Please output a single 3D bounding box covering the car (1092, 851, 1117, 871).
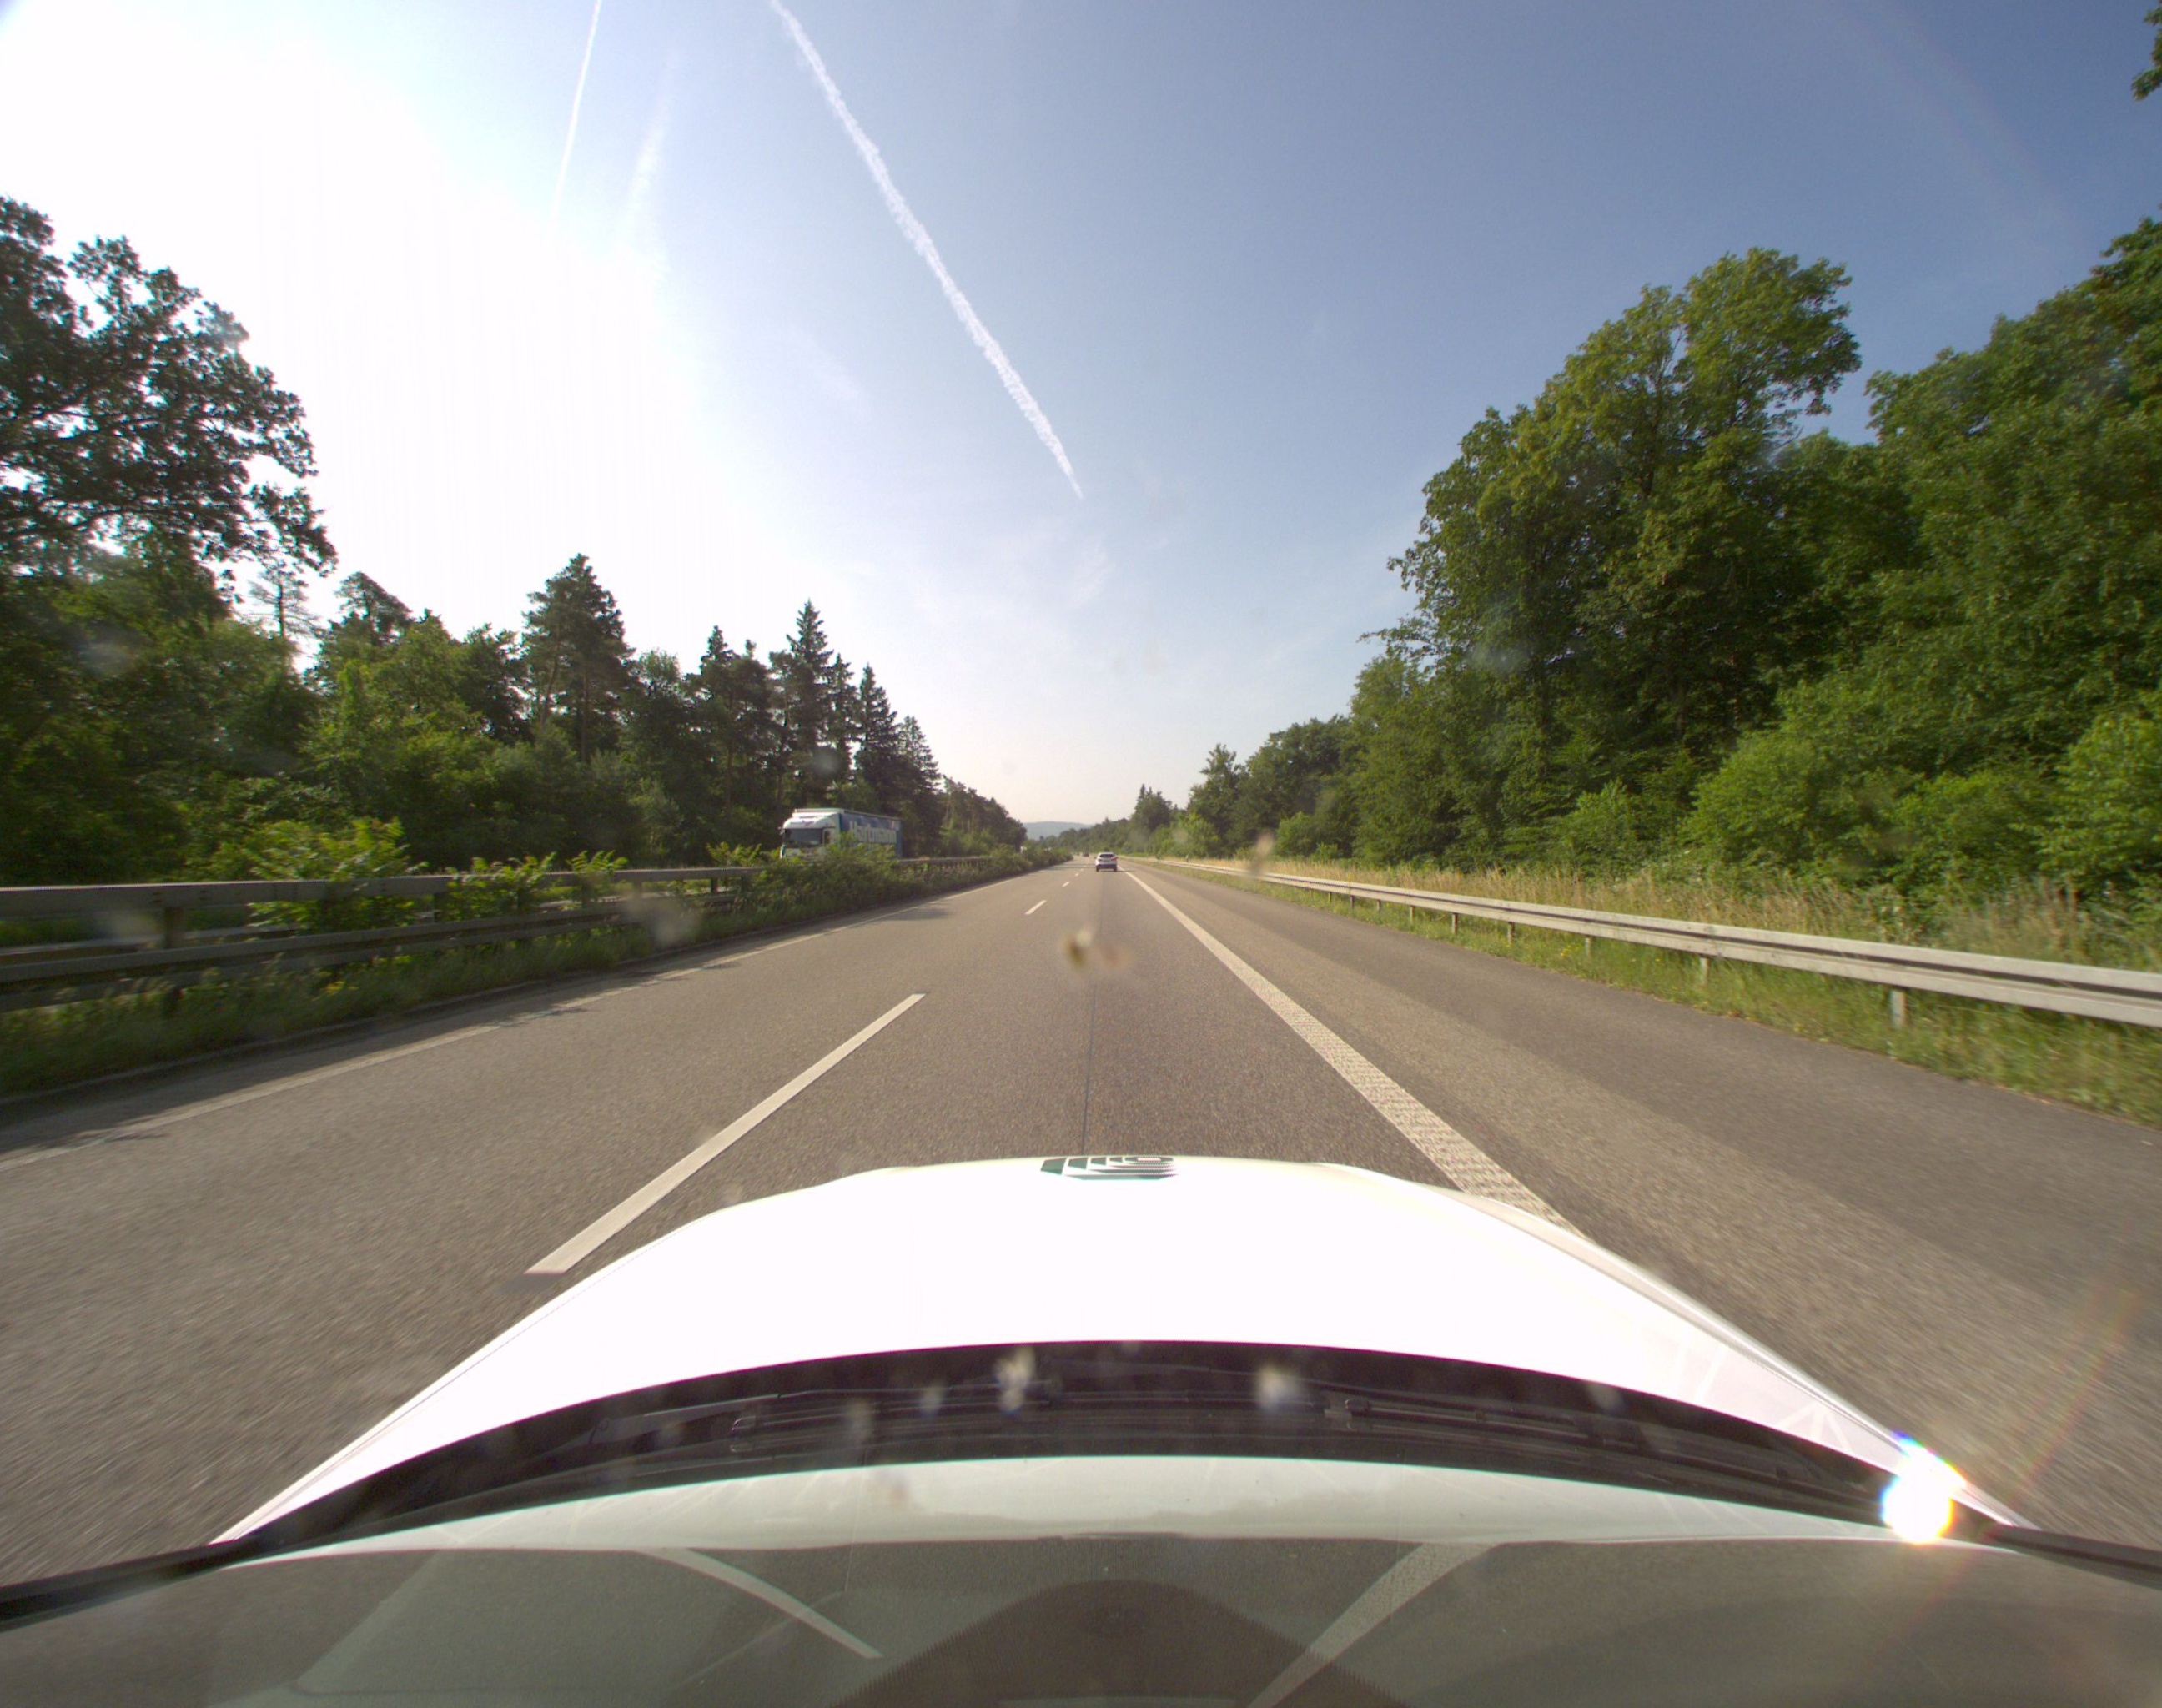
[{"bbox_3d":[1.980,0.600,69.634,1.869,1.586,3.996,1,0,-3],"label":"car"}]

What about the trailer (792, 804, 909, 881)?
[{"bbox_3d":[-13.887,-0.630,50.748,2.882,4.008,13.328,-3,0,2],"label":"trailer"}]

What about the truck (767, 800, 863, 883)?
[{"bbox_3d":[-14.142,-0.625,43.826,2.882,4.031,6.028,-3,0,2],"label":"truck"}]
